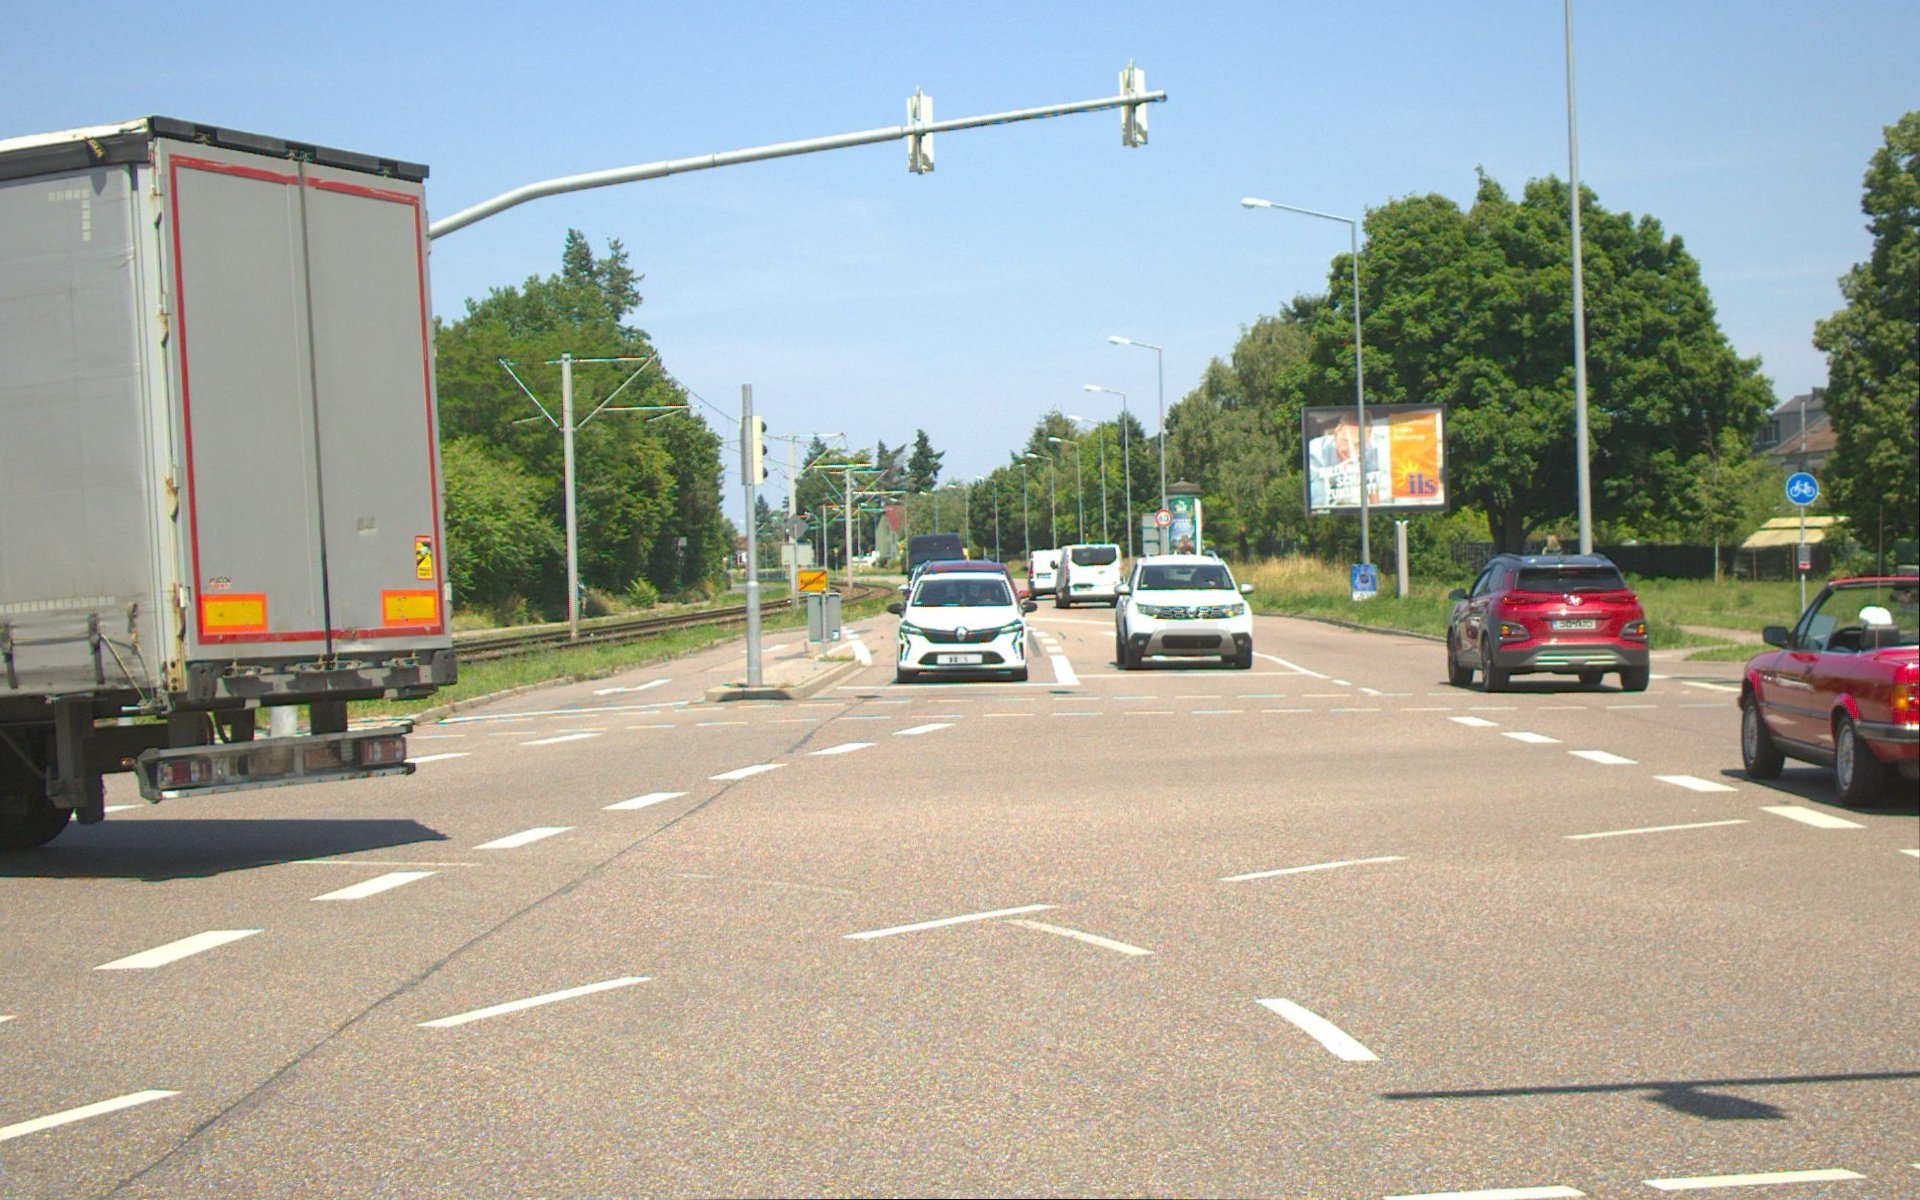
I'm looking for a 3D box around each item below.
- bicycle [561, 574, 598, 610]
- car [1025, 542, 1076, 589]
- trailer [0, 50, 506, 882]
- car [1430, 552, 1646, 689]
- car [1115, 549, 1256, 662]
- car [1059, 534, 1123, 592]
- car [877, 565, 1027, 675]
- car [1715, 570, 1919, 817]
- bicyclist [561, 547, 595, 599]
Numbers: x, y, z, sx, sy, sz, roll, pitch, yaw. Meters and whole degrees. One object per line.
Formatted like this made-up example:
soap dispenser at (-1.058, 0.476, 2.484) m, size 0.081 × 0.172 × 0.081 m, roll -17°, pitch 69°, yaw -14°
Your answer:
bicycle at (-15.312, -0.343, 138.356) m, size 1.060 × 1.341 × 2.696 m, roll -5°, pitch 1°, yaw 1°
car at (3.419, -1.313, 130.677) m, size 1.767 × 1.749 × 4.000 m, roll 1°, pitch 1°, yaw -1°
trailer at (-7.727, -0.509, 20.221) m, size 9.789 × 4.056 × 3.083 m, roll -2°, pitch 0°, yaw 25°
car at (6.638, 0.193, 39.914) m, size 1.843 × 1.454 × 4.412 m, roll -2°, pitch 1°, yaw 2°
car at (3.243, 0.051, 50.184) m, size 1.869 × 1.571 × 4.412 m, roll 0°, pitch 1°, yaw 2°
car at (4.064, -1.143, 107.240) m, size 1.767 × 1.749 × 4.000 m, roll 1°, pitch 1°, yaw -1°
car at (-0.063, 0.233, 46.167) m, size 1.869 × 1.384 × 4.412 m, roll -1°, pitch 1°, yaw 2°
car at (6.004, 0.508, 21.478) m, size 1.760 × 1.343 × 4.312 m, roll 0°, pitch 1°, yaw 2°
bicyclist at (-15.355, -1.078, 138.342) m, size 1.071 × 2.007 × 1.185 m, roll -4°, pitch 0°, yaw 1°
